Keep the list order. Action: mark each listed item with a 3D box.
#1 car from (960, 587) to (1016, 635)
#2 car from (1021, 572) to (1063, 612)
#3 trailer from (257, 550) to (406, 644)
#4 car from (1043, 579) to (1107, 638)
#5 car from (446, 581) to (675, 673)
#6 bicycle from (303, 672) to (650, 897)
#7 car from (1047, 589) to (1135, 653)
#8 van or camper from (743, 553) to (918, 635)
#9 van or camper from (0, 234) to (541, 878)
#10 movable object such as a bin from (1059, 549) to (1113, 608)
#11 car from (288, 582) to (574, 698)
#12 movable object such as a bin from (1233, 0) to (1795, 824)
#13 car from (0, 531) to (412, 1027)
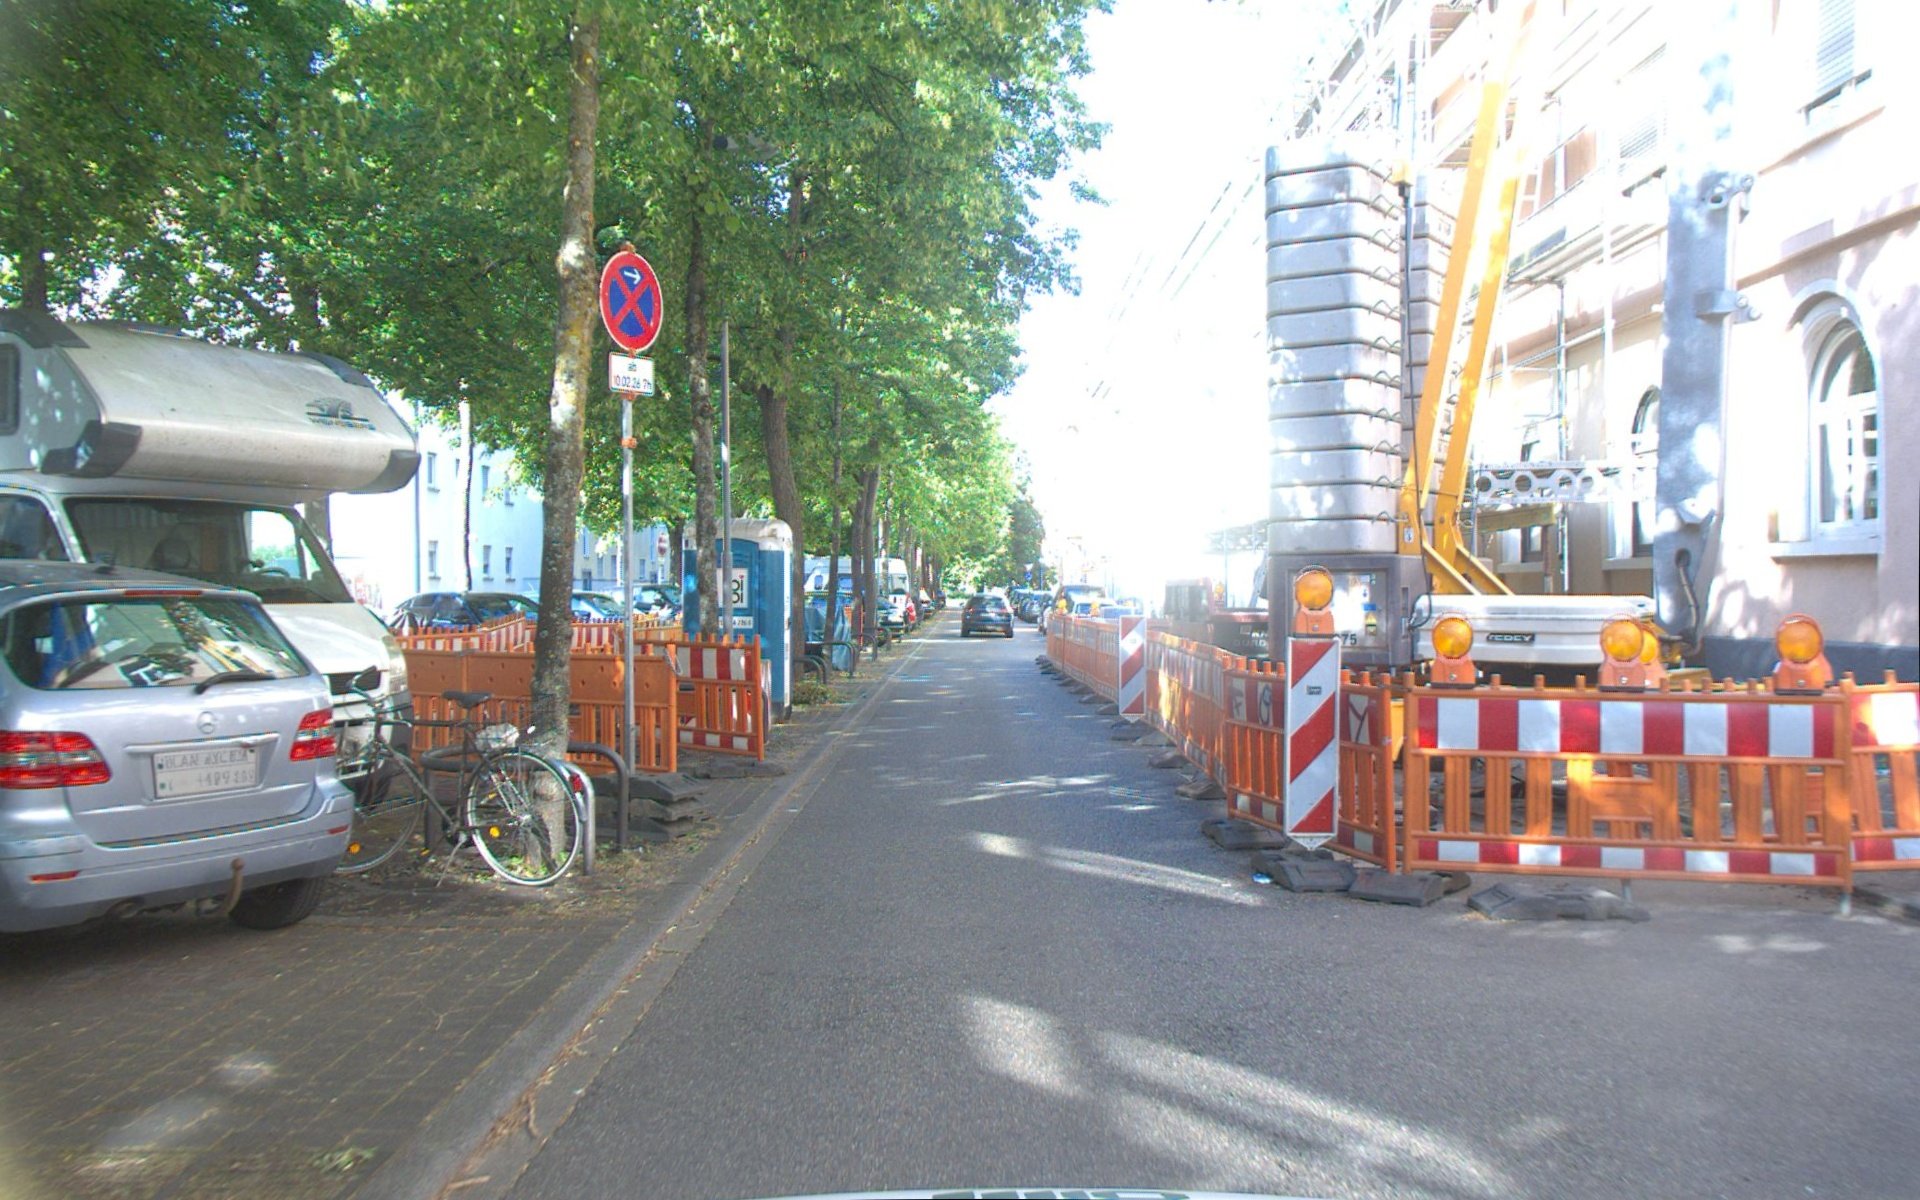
[{"bbox_3d":[0.928,0.355,56.734,1.760,1.530,3.585,-1,1,-1],"label":"car"},{"bbox_3d":[3.961,-0.406,80.286,1.760,1.832,3.585,-1,1,-1],"label":"car"},{"bbox_3d":[-14.573,-0.093,38.604,1.953,2.049,3.999,-1,1,-1],"label":"trailer"},{"bbox_3d":[3.687,0.248,53.642,1.760,1.832,3.585,-1,1,-1],"label":"car"},{"bbox_3d":[-7.614,0.488,31.508,3.910,1.635,1.997,-1,1,28],"label":"car"},{"bbox_3d":[-2.488,0.905,8.444,1.858,1.024,0.430,0,0,24],"label":"bicycle"},{"bbox_3d":[3.087,0.461,39.584,1.760,1.409,3.585,-1,1,-1],"label":"car"},{"bbox_3d":[-4.151,-0.187,52.837,5.236,2.518,2.288,-1,1,32],"label":"van or camper"},{"bbox_3d":[-6.171,-0.217,11.145,6.529,3.297,2.492,-1,1,29],"label":"van or camper"},{"bbox_3d":[5.040,-0.863,66.658,1.760,2.272,4.605,-1,1,-1],"label":"movable object such as a bin"},{"bbox_3d":[-8.086,0.573,25.265,3.910,1.635,1.997,-1,1,28],"label":"car"},{"bbox_3d":[4.021,-2.093,11.961,3.416,6.877,2.362,0,0,33],"label":"movable object such as a bin"},{"bbox_3d":[-4.514,0.597,7.198,3.875,1.657,1.821,0,0,26],"label":"car"}]
